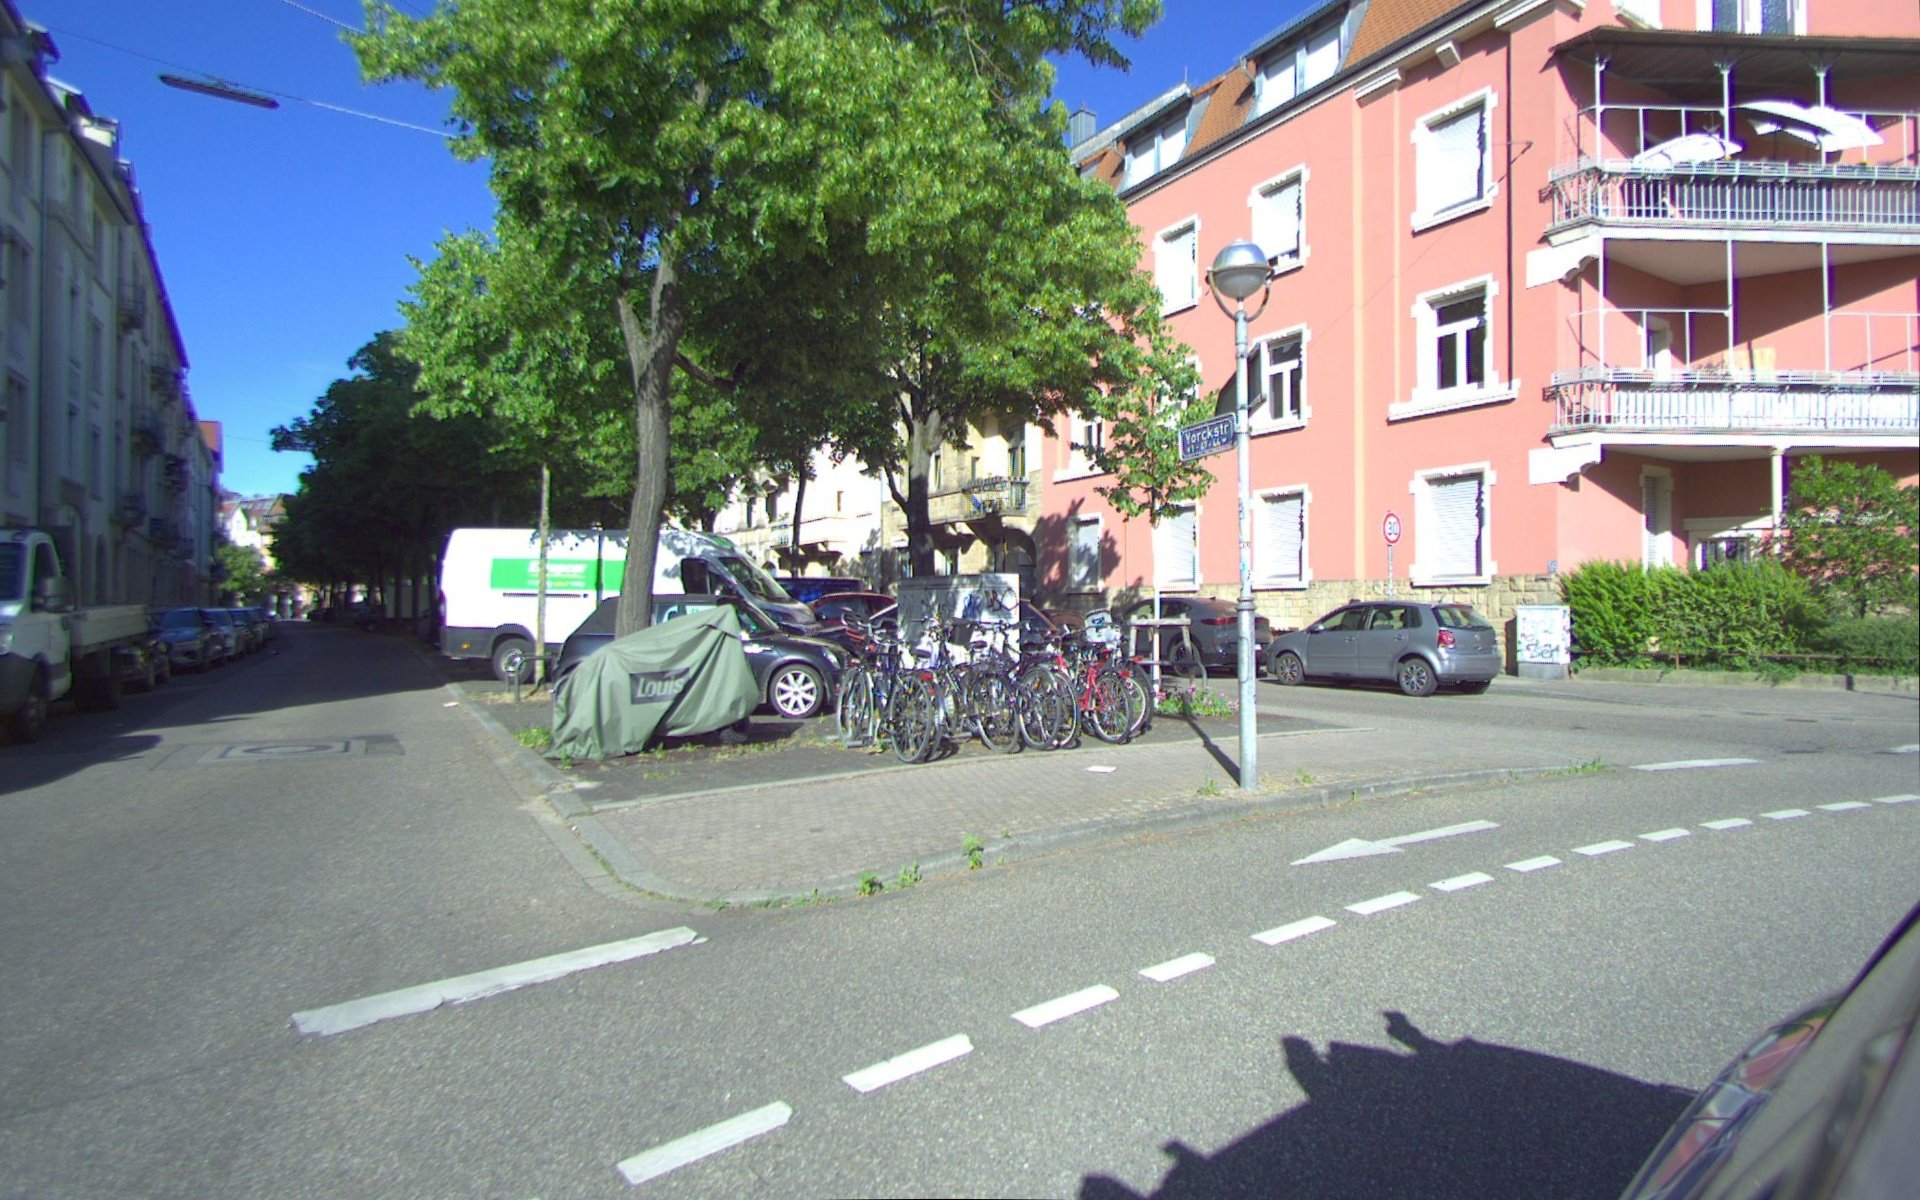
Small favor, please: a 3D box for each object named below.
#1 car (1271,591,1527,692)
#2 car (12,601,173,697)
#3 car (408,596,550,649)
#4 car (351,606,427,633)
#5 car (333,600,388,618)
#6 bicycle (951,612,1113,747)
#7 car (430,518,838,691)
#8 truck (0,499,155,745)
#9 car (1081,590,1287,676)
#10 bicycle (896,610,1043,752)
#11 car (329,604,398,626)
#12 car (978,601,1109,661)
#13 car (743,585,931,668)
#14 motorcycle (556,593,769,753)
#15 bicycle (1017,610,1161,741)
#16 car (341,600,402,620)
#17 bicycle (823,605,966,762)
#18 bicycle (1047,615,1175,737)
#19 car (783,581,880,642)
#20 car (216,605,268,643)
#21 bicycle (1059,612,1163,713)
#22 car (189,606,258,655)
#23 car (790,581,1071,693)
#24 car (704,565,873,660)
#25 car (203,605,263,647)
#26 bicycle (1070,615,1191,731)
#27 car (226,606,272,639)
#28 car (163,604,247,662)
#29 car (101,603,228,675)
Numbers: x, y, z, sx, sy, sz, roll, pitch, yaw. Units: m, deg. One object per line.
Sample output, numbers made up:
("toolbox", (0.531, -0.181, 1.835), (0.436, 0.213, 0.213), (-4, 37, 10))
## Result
("car", (7.046, 0.624, 16.566), (1.654, 1.465, 3.549), (2, -1, -31))
("car", (-14.669, 0.740, 17.313), (1.656, 1.407, 3.922), (-1, 1, -34))
("car", (-14.222, 0.673, 30.055), (3.426, 1.477, 1.690), (1, -1, -6))
("car", (-35.576, 1.195, 63.124), (3.850, 1.594, 1.687), (-1, -1, 3))
("car", (-53.528, 0.802, 90.431), (3.916, 1.529, 1.803), (-1, 0, -19))
("bicycle", (0.627, 0.685, 9.443), (0.644, 1.102, 1.731), (2, -1, -30))
("car", (-5.396, 0.039, 17.064), (6.273, 2.634, 2.097), (1, -1, 10))
("truck", (-11.476, 0.225, 11.950), (2.097, 2.321, 6.627), (-1, 0, -30))
("car", (4.481, 0.633, 20.889), (1.654, 1.582, 4.298), (2, -1, -31))
("bicycle", (0.045, 0.676, 9.134), (0.577, 1.141, 1.604), (1, 0, -30))
("car", (-43.272, 1.074, 73.456), (3.926, 1.529, 1.799), (-1, 0, 3))
("car", (2.038, 0.745, 25.442), (1.654, 1.399, 3.283), (2, -1, -31))
("car", (-2.387, 0.512, 19.419), (3.312, 1.465, 1.691), (1, -1, -17))
("motorcycle", (-2.554, 0.604, 8.742), (1.676, 1.286, 0.539), (1, -1, -26))
("bicycle", (1.198, 0.671, 9.727), (0.490, 1.116, 1.652), (1, 0, -28))
("car", (-48.303, 0.806, 83.072), (3.918, 1.529, 1.802), (-1, 0, -9))
("bicycle", (-0.603, 0.656, 8.714), (0.527, 1.208, 1.681), (2, -1, -30))
("bicycle", (1.487, 0.721, 10.224), (0.411, 1.103, 1.576), (2, 0, -28))
("car", (-4.701, 0.407, 36.512), (1.903, 2.071, 4.278), (2, -1, -31))
("car", (-29.465, 0.944, 41.588), (1.656, 1.407, 3.922), (-1, 1, -34))
("bicycle", (1.786, 0.719, 12.180), (0.411, 1.100, 1.529), (2, 0, -27))
("car", (-23.602, 0.931, 32.511), (1.656, 1.407, 3.922), (-1, 1, -34))
("car", (-0.467, 0.527, 14.743), (3.843, 1.465, 1.690), (1, -1, -6))
("car", (-3.583, 0.272, 21.566), (3.318, 1.889, 1.688), (1, -1, -2))
("car", (-26.348, 0.908, 36.785), (1.656, 1.407, 3.922), (-1, 1, -34))
("bicycle", (1.764, 0.729, 10.685), (0.411, 1.100, 1.529), (2, 0, -27))
("car", (-32.715, 0.996, 46.615), (1.656, 1.407, 3.922), (-1, 1, -34))
("car", (-20.517, 0.849, 27.605), (1.656, 1.407, 3.922), (-1, 1, -34))
("car", (-17.442, 0.783, 22.359), (1.655, 1.407, 4.006), (-1, 1, -30))
